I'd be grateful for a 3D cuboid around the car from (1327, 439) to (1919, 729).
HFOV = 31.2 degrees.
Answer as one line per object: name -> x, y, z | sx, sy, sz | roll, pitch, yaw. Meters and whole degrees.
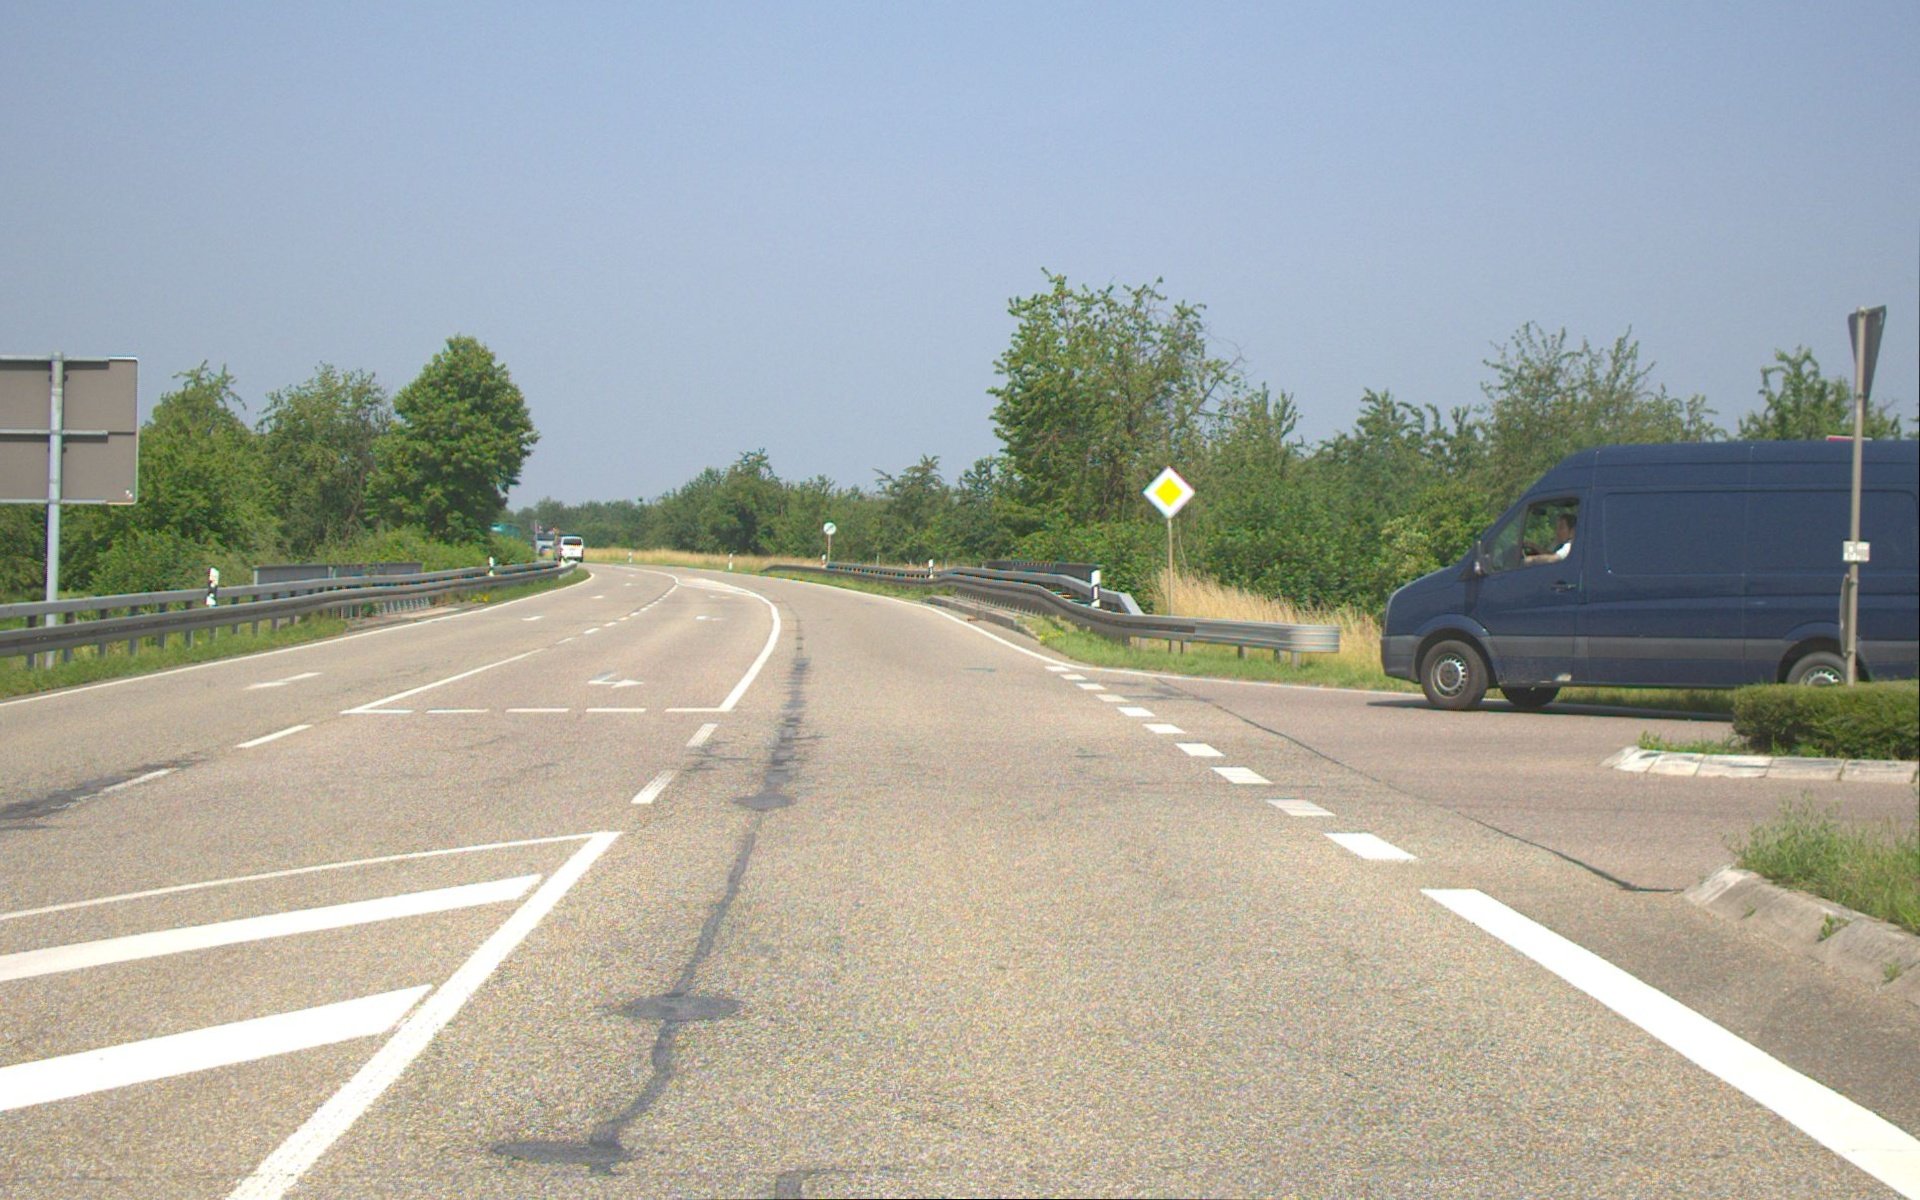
car -> 6.802, -0.182, 32.750 | 6.303, 2.566, 2.058 | 1, 1, 32
